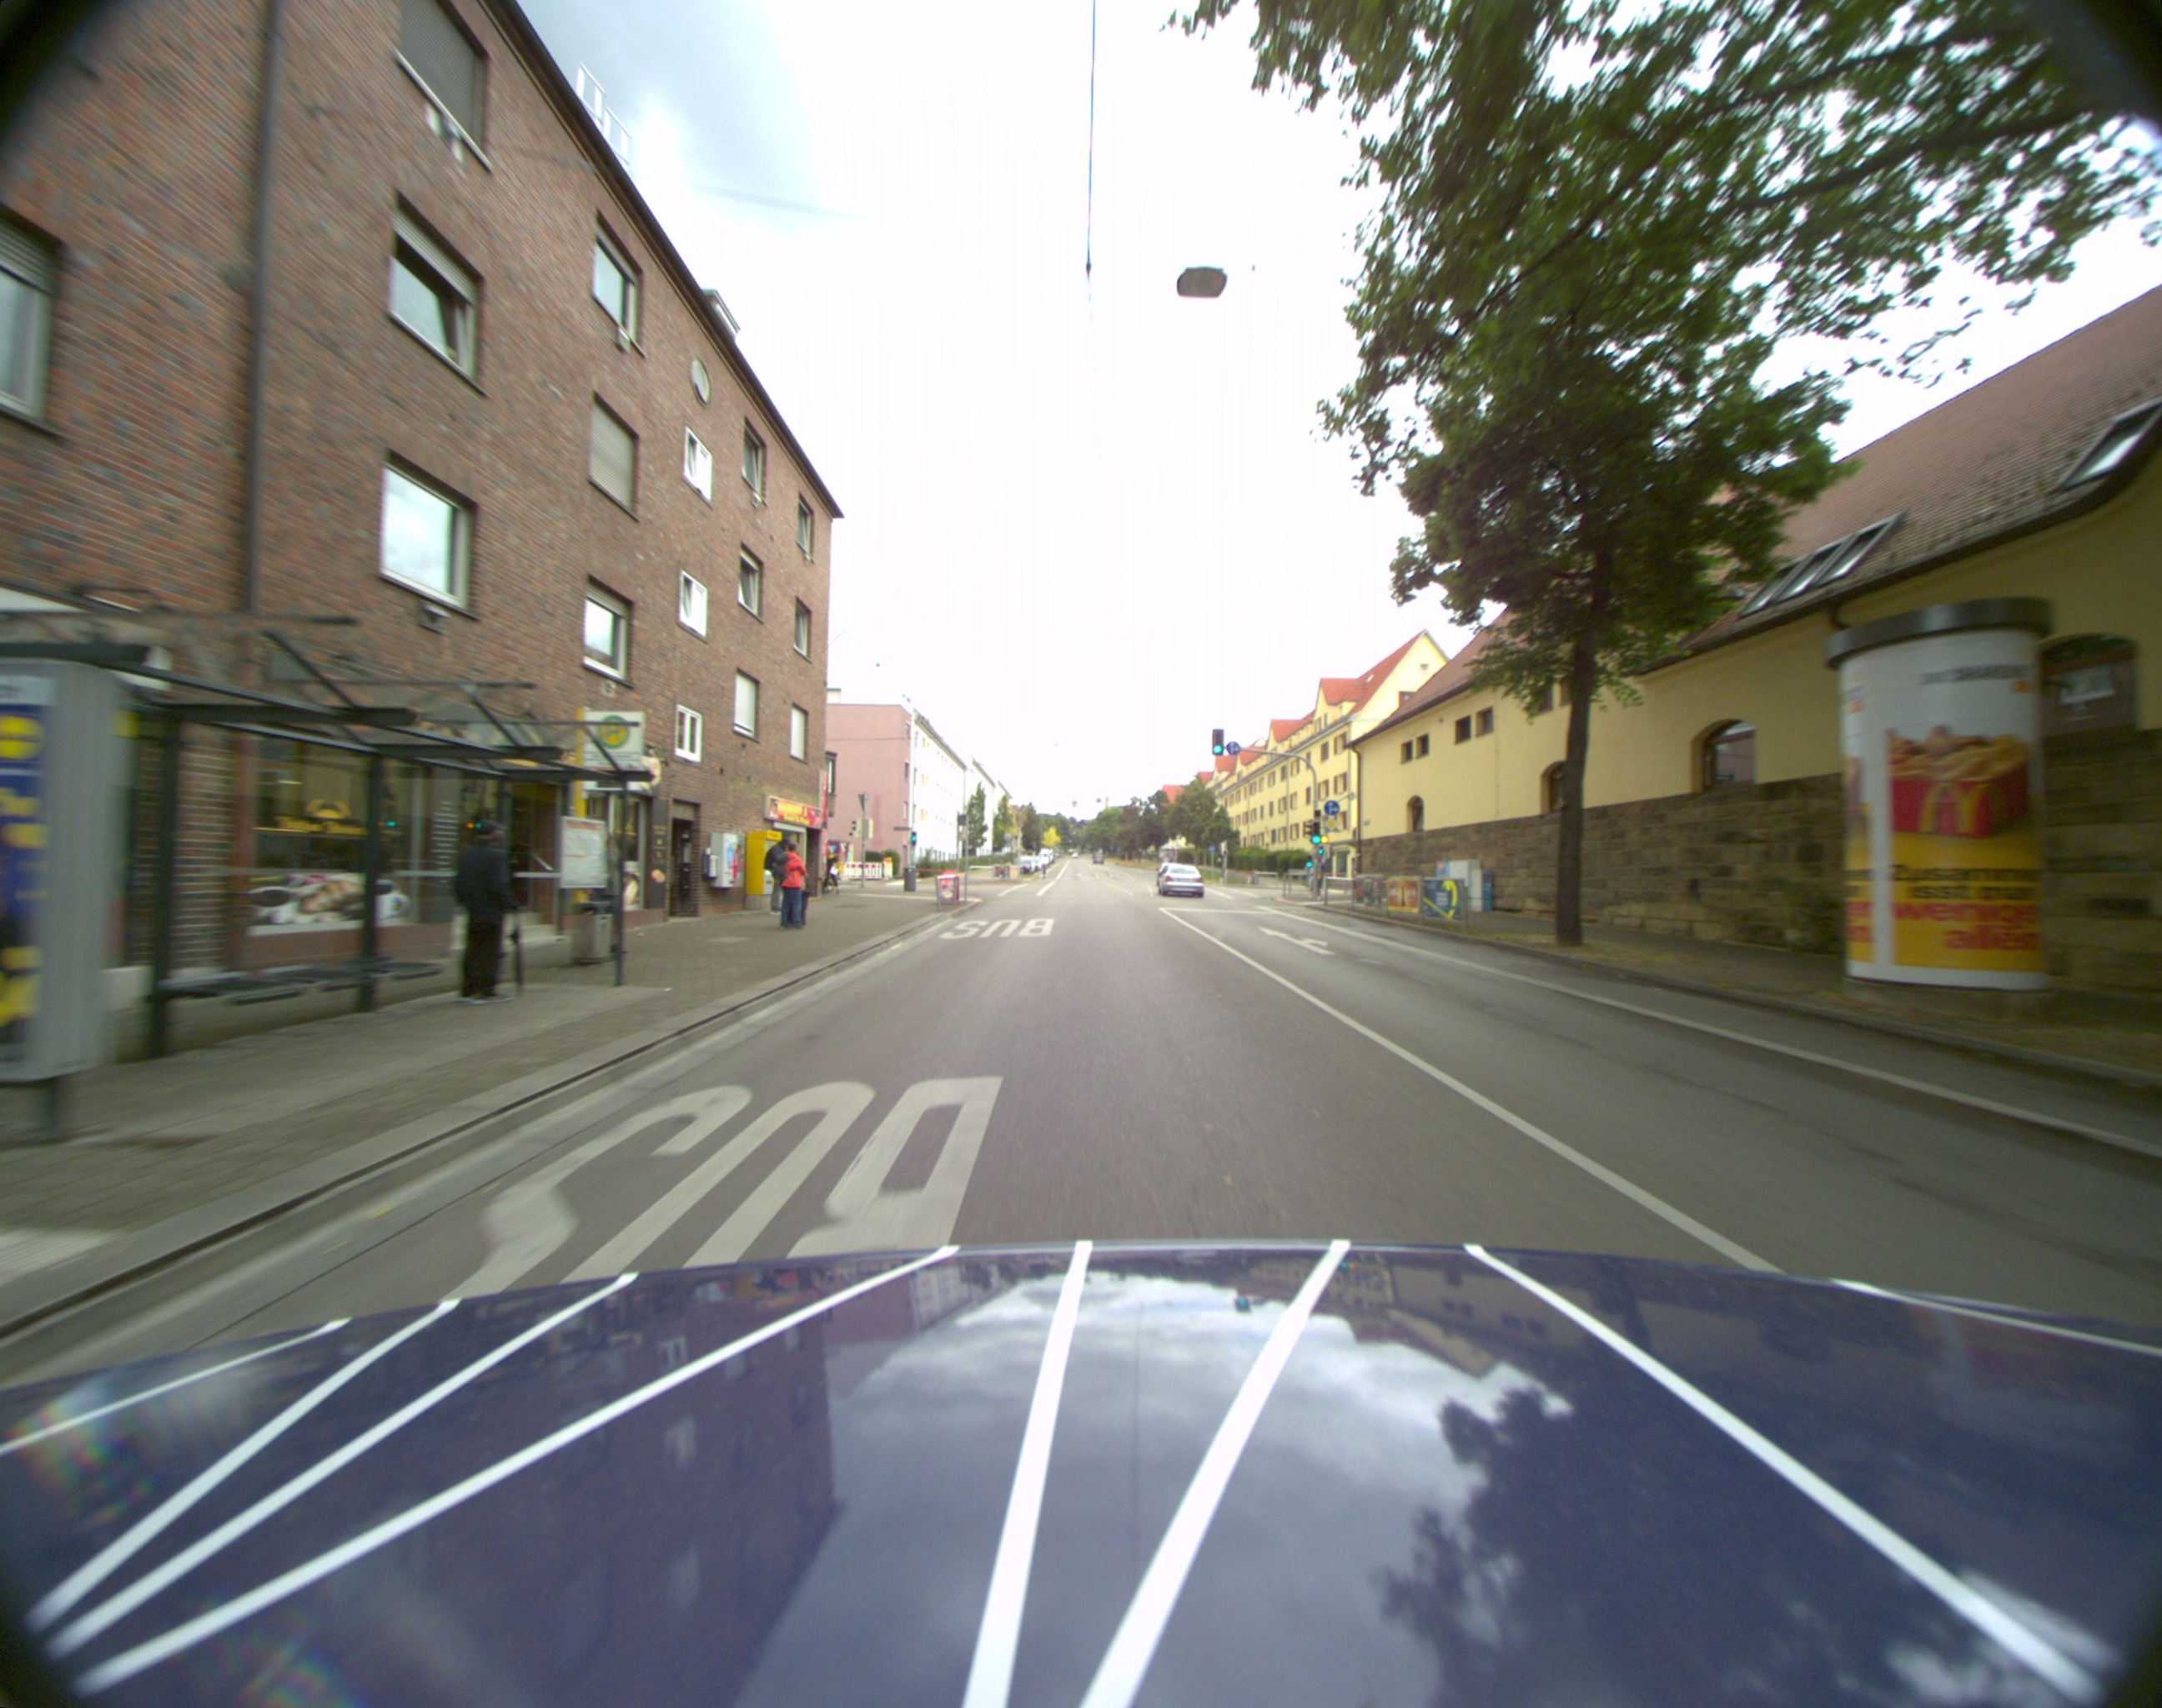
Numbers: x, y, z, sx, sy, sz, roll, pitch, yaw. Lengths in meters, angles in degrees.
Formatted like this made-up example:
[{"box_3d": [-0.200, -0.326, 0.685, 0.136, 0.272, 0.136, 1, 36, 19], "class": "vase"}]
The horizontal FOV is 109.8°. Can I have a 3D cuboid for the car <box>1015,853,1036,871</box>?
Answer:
[{"box_3d": [-5.087, 0.718, 70.406, 1.739, 1.579, 4.571, -1, 1, -2], "class": "car"}]

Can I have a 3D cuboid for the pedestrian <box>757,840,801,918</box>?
[{"box_3d": [-6.965, 0.562, 17.542, 0.648, 1.740, 0.778, 0, 1, 5], "class": "pedestrian"}]

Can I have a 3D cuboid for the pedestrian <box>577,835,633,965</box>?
[{"box_3d": [-6.548, 0.616, 10.473, 0.480, 1.755, 0.458, 1, 1, 0], "class": "pedestrian"}]

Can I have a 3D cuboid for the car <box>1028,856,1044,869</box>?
[{"box_3d": [-5.211, 0.924, 88.150, 1.734, 1.405, 4.499, -1, 0, -2], "class": "car"}]

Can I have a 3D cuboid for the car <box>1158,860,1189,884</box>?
[{"box_3d": [5.730, 1.099, 47.500, 1.706, 1.406, 4.193, 1, 0, 5], "class": "car"}]

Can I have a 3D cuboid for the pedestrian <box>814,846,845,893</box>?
[{"box_3d": [-9.118, 0.569, 27.556, 0.790, 1.646, 0.772, 3, 1, 0], "class": "pedestrian"}]

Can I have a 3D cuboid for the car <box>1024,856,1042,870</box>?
[{"box_3d": [-5.190, 0.934, 82.754, 1.750, 1.459, 4.948, -1, 0, -2], "class": "car"}]

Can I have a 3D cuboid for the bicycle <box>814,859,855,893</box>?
[{"box_3d": [-9.124, 0.796, 28.238, 0.761, 1.186, 2.391, 0, 0, 0], "class": "bicycle"}]

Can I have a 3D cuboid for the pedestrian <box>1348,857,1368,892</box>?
[{"box_3d": [12.584, 0.929, 34.550, 0.565, 1.557, 0.842, 0, 1, 1], "class": "pedestrian"}]

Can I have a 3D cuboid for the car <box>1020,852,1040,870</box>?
[{"box_3d": [-5.038, 0.687, 75.605, 1.663, 1.706, 4.551, -1, 0, -1], "class": "car"}]

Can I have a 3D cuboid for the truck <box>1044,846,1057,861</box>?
[{"box_3d": [-5.214, -0.133, 129.708, 2.058, 2.550, 5.688, 0, 0, -1], "class": "truck"}]

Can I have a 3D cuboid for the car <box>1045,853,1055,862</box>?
[{"box_3d": [-5.051, 0.551, 124.295, 1.529, 1.477, 3.725, -1, 0, -1], "class": "car"}]

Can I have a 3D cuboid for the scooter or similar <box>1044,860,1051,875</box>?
[{"box_3d": [-2.684, 1.060, 61.664, 0.492, 1.156, 2.074, 0, 0, -1], "class": "scooter or similar"}]

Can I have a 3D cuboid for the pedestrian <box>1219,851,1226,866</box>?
[{"box_3d": [15.848, 0.524, 85.157, 0.642, 1.610, 0.618, 0, 1, -1], "class": "pedestrian"}]

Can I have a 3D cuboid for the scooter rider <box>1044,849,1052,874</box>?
[{"box_3d": [-2.694, 0.630, 61.767, 0.627, 2.002, 0.757, 0, 1, -1], "class": "scooter rider"}]

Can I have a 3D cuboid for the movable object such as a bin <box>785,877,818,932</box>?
[{"box_3d": [-5.482, 0.983, 14.892, 0.453, 1.050, 0.411, 1, 1, 20], "class": "movable object such as a bin"}]

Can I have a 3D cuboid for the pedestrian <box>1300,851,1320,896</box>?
[{"box_3d": [9.124, 0.761, 30.292, 0.565, 1.766, 0.717, 0, 1, -1], "class": "pedestrian"}]

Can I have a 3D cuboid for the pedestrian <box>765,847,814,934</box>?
[{"box_3d": [-5.593, 0.686, 14.579, 0.565, 1.627, 0.682, 1, 1, 20], "class": "pedestrian"}]

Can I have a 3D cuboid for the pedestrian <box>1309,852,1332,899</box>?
[{"box_3d": [9.149, 0.798, 29.035, 0.565, 1.766, 0.842, 0, 1, -1], "class": "pedestrian"}]

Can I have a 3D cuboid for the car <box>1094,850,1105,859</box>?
[{"box_3d": [3.220, 0.043, 132.778, 1.761, 1.464, 4.305, 4, 0, -2], "class": "car"}]

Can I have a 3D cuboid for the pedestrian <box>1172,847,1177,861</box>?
[{"box_3d": [12.056, 0.003, 98.169, 0.598, 1.717, 0.861, 0, 1, 2], "class": "pedestrian"}]

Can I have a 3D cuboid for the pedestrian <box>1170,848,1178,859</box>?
[{"box_3d": [12.330, -0.060, 100.604, 0.901, 1.501, 0.806, -1, 1, 0], "class": "pedestrian"}]

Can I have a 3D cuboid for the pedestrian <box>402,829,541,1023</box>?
[{"box_3d": [-5.690, 0.641, 7.139, 0.671, 1.717, 0.764, 0, 1, 5], "class": "pedestrian"}]

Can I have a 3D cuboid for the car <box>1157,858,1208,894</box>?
[{"box_3d": [4.268, 0.908, 32.577, 1.689, 1.268, 4.095, 3, 1, 2], "class": "car"}]
